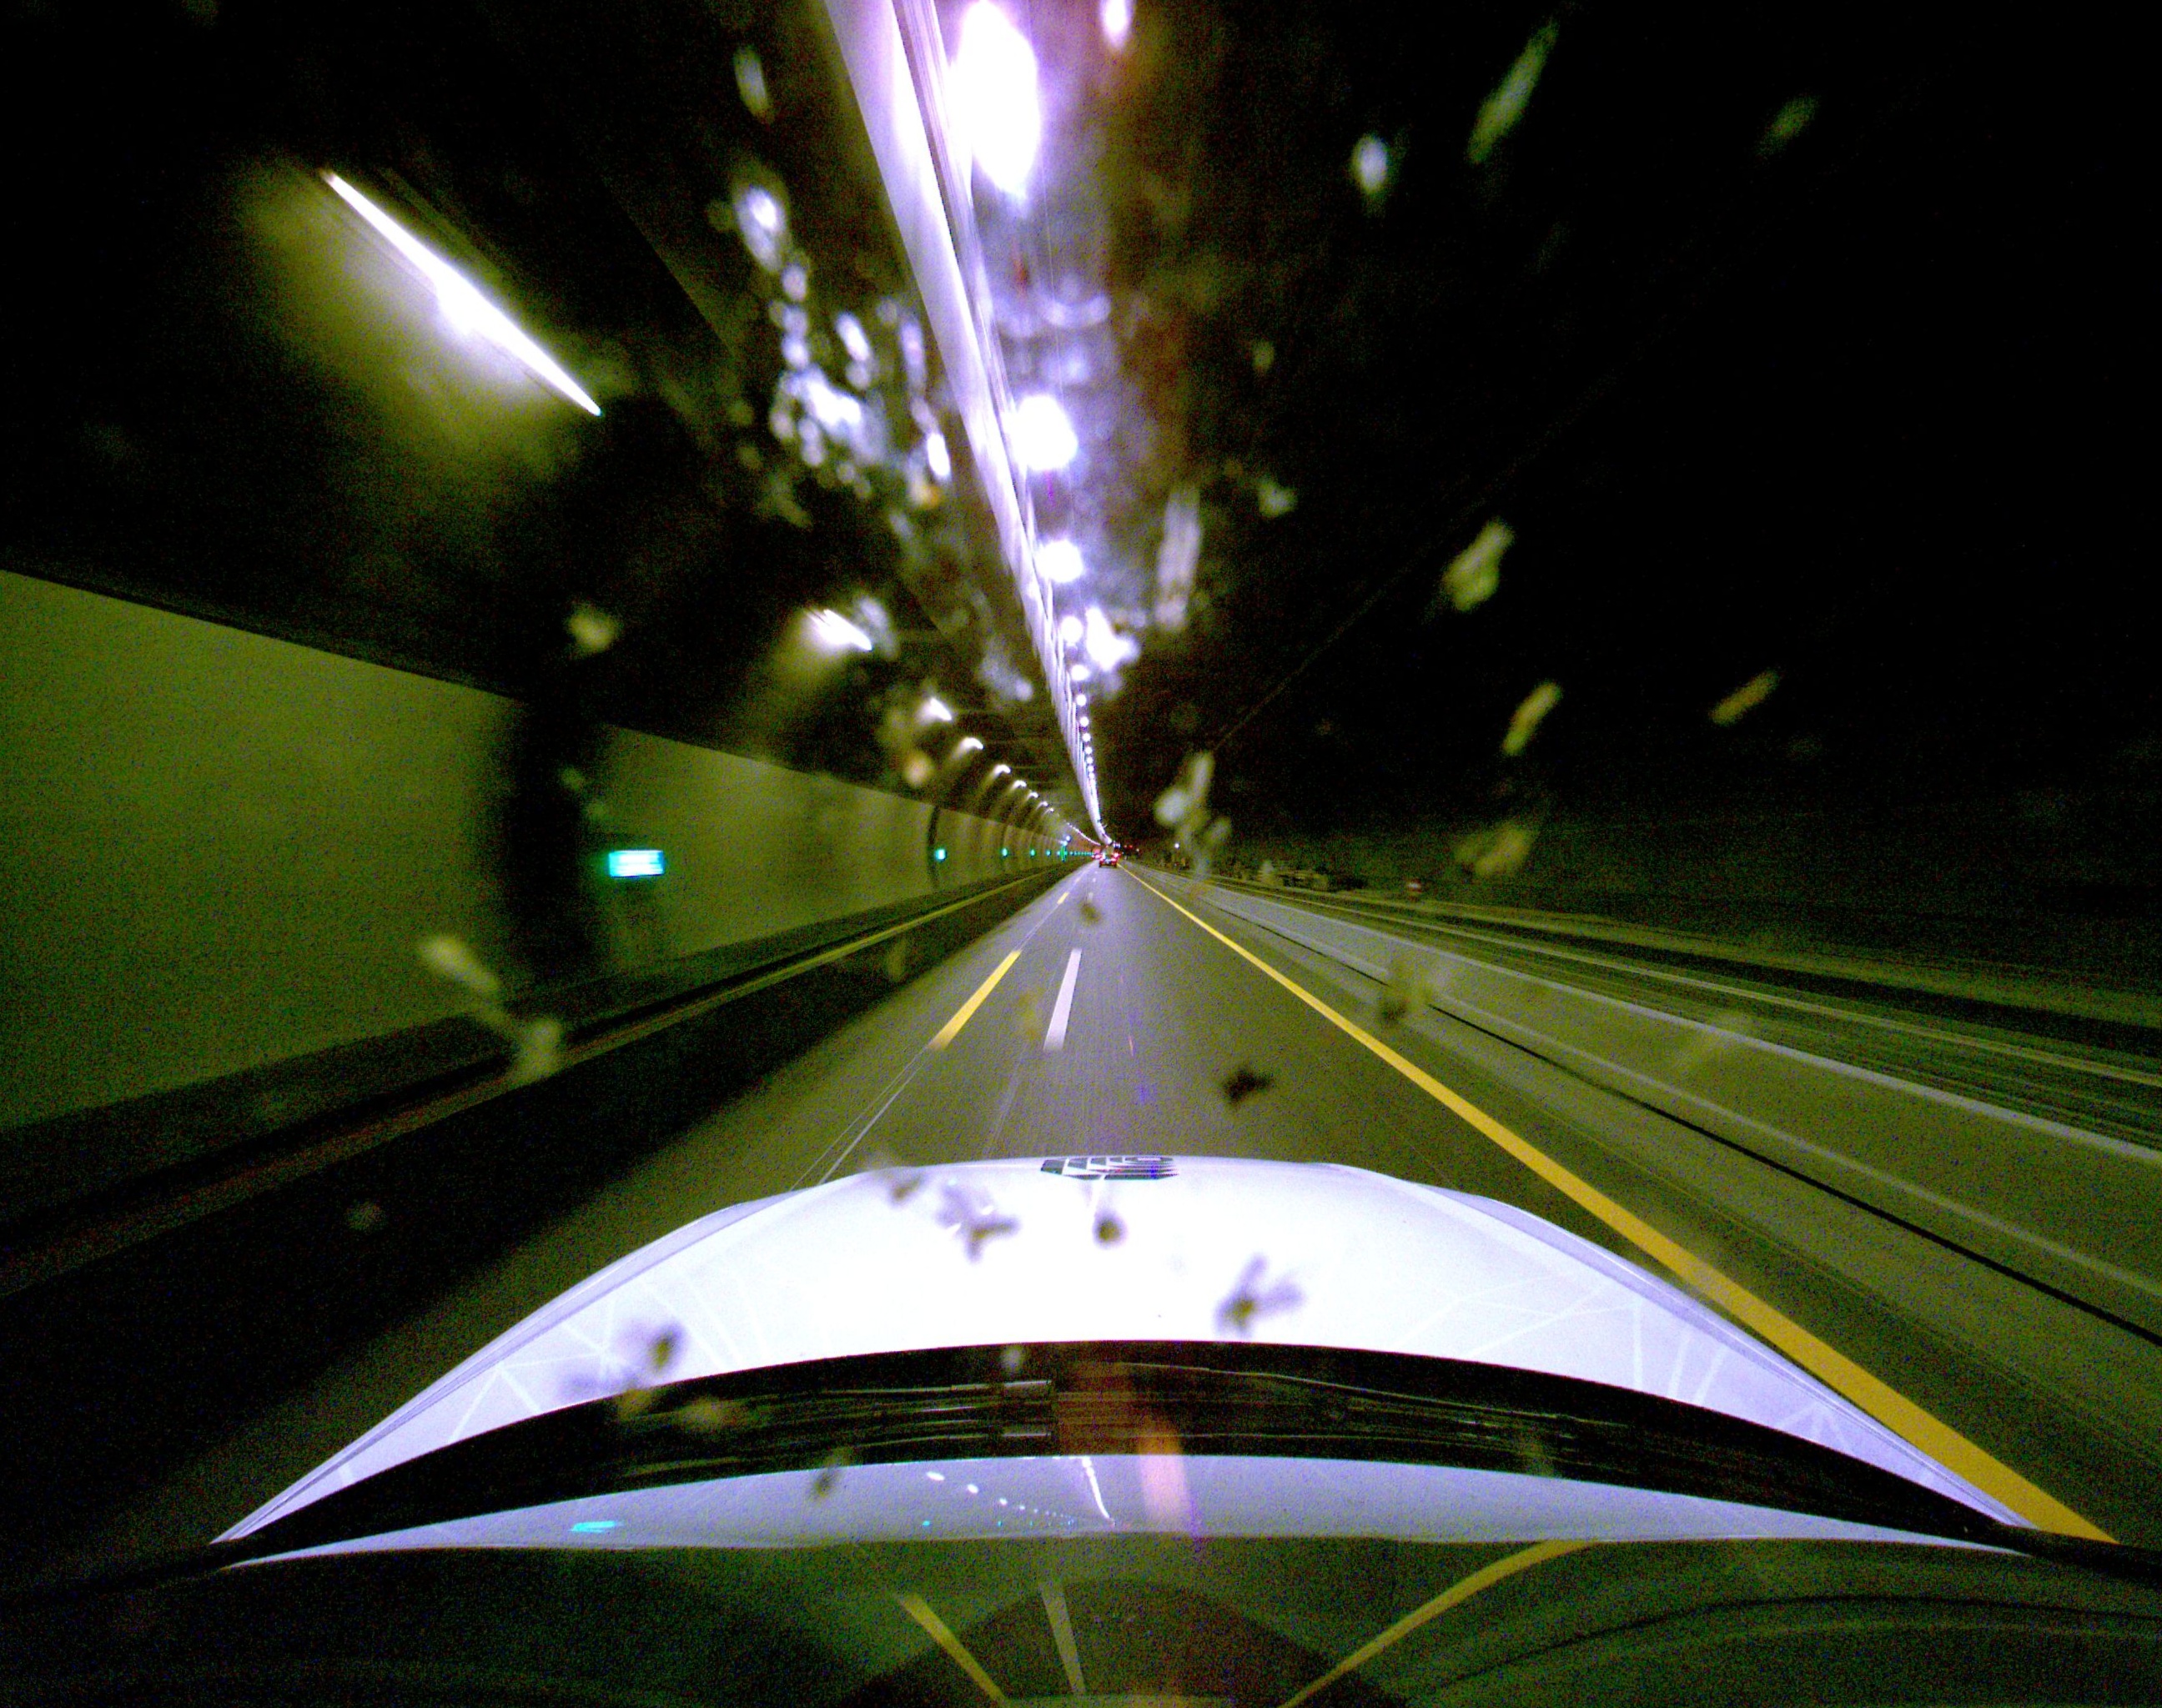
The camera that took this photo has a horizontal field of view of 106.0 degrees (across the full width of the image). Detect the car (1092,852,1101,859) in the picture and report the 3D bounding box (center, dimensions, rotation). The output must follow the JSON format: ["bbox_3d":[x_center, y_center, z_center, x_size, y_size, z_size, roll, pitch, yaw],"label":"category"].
[{"bbox_3d":[3.753,0.289,196.573,1.922,1.687,4.003,-2,0,3],"label":"car"}]

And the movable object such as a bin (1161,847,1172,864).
[{"bbox_3d":[10.865,0.233,104.040,1.230,2.141,2.217,0,0,1],"label":"movable object such as a bin"}]

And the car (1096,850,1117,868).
[{"bbox_3d":[2.693,0.540,86.597,1.941,1.794,3.998,-2,0,-1],"label":"car"}]

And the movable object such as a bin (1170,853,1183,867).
[{"bbox_3d":[11.399,0.694,97.228,1.230,1.718,2.217,0,0,1],"label":"movable object such as a bin"}]

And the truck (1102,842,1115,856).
[{"bbox_3d":[8.967,-1.654,264.971,4.051,4.532,14.971,-1,0,2],"label":"truck"}]

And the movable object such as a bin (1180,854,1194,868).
[{"bbox_3d":[11.187,0.698,85.907,1.230,1.442,2.217,0,0,1],"label":"movable object such as a bin"}]
